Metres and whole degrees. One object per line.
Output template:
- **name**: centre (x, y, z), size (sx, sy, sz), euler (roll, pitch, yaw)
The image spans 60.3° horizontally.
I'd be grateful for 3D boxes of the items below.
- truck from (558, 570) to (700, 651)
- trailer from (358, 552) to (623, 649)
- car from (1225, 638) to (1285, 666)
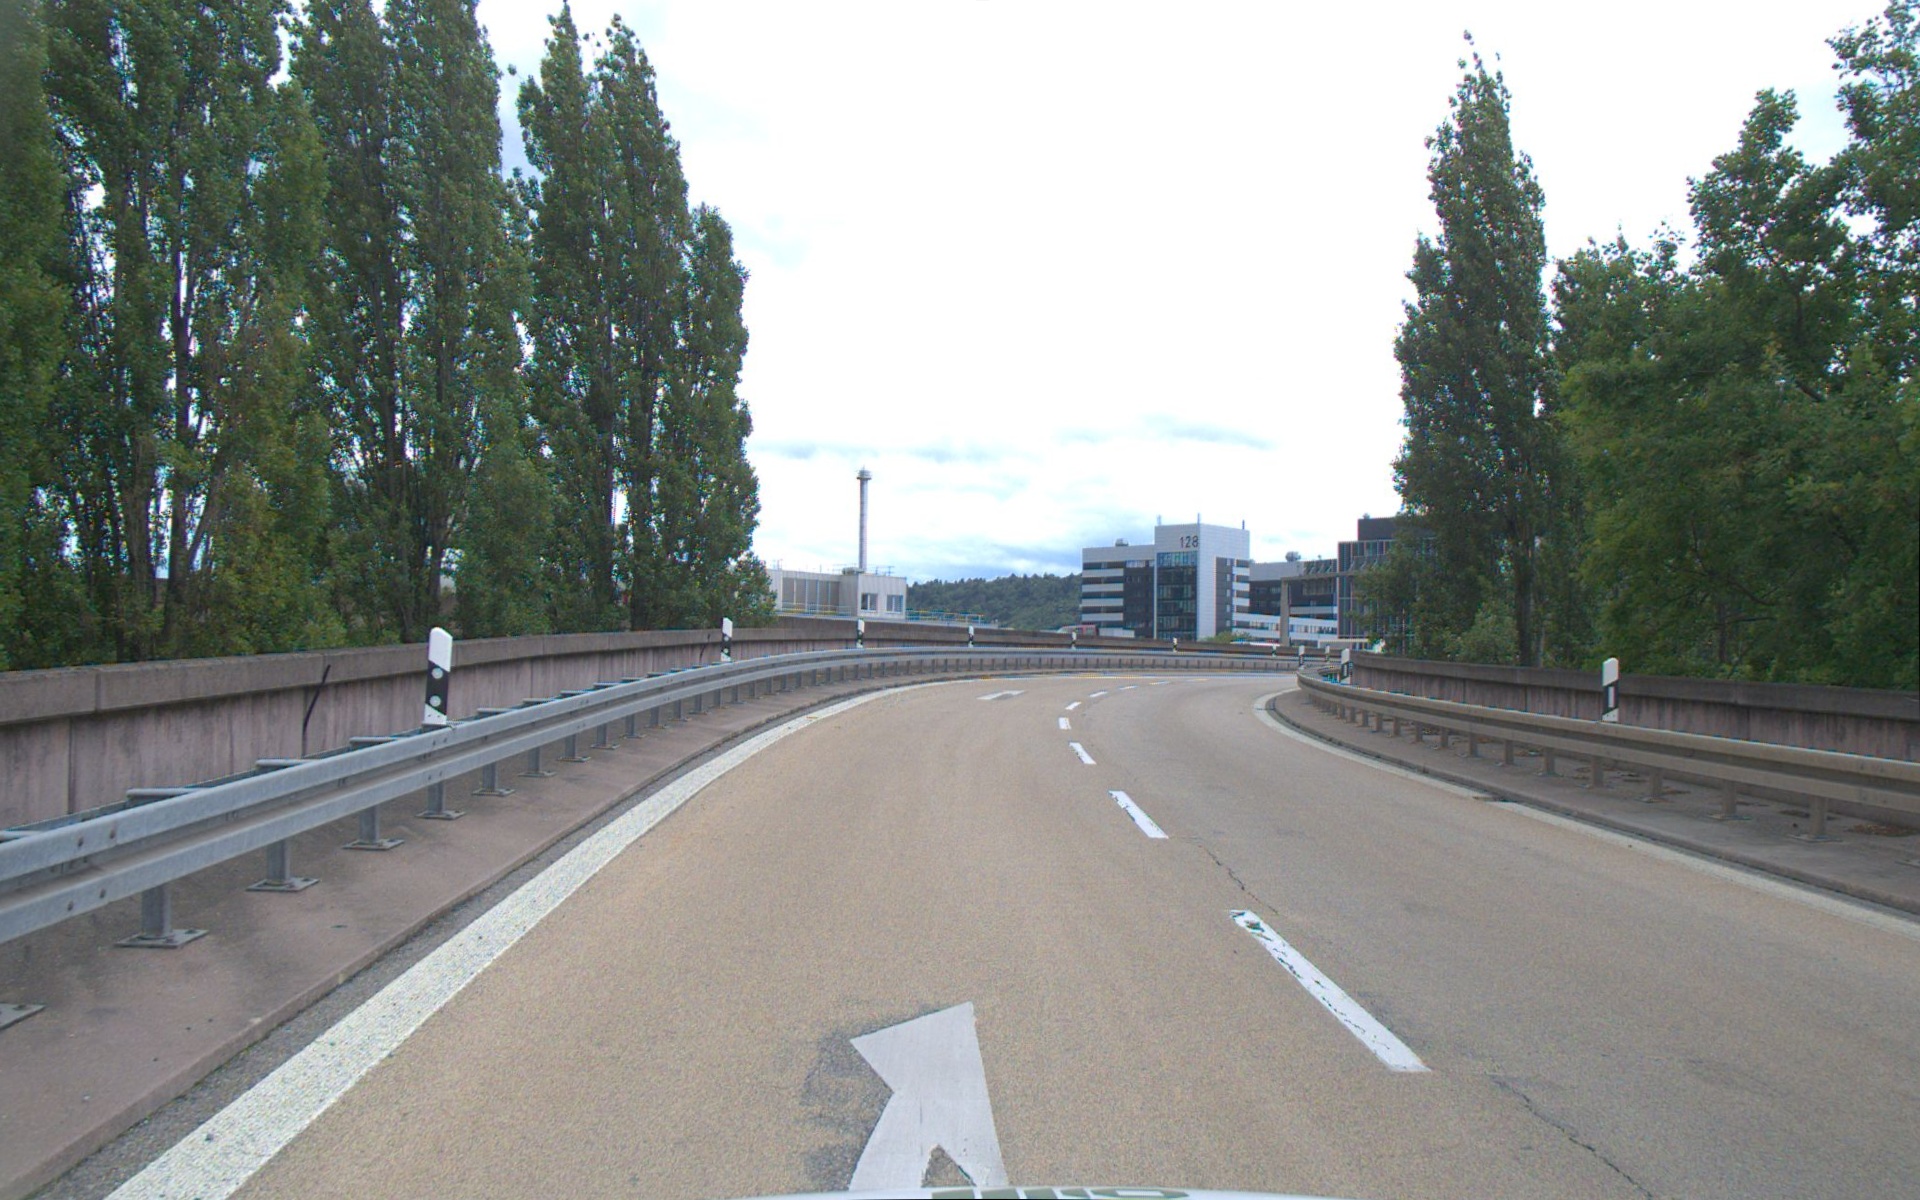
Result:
- **truck**: centre (-15.396, 0.561, 76.969), size (5.881, 3.491, 2.751), euler (3, -3, -30)
- **trailer**: centre (-20.837, 0.137, 73.827), size (10.999, 3.803, 2.773), euler (3, -3, -30)
- **car**: centre (19.419, 3.420, 108.847), size (3.594, 1.544, 1.675), euler (3, 1, -27)
